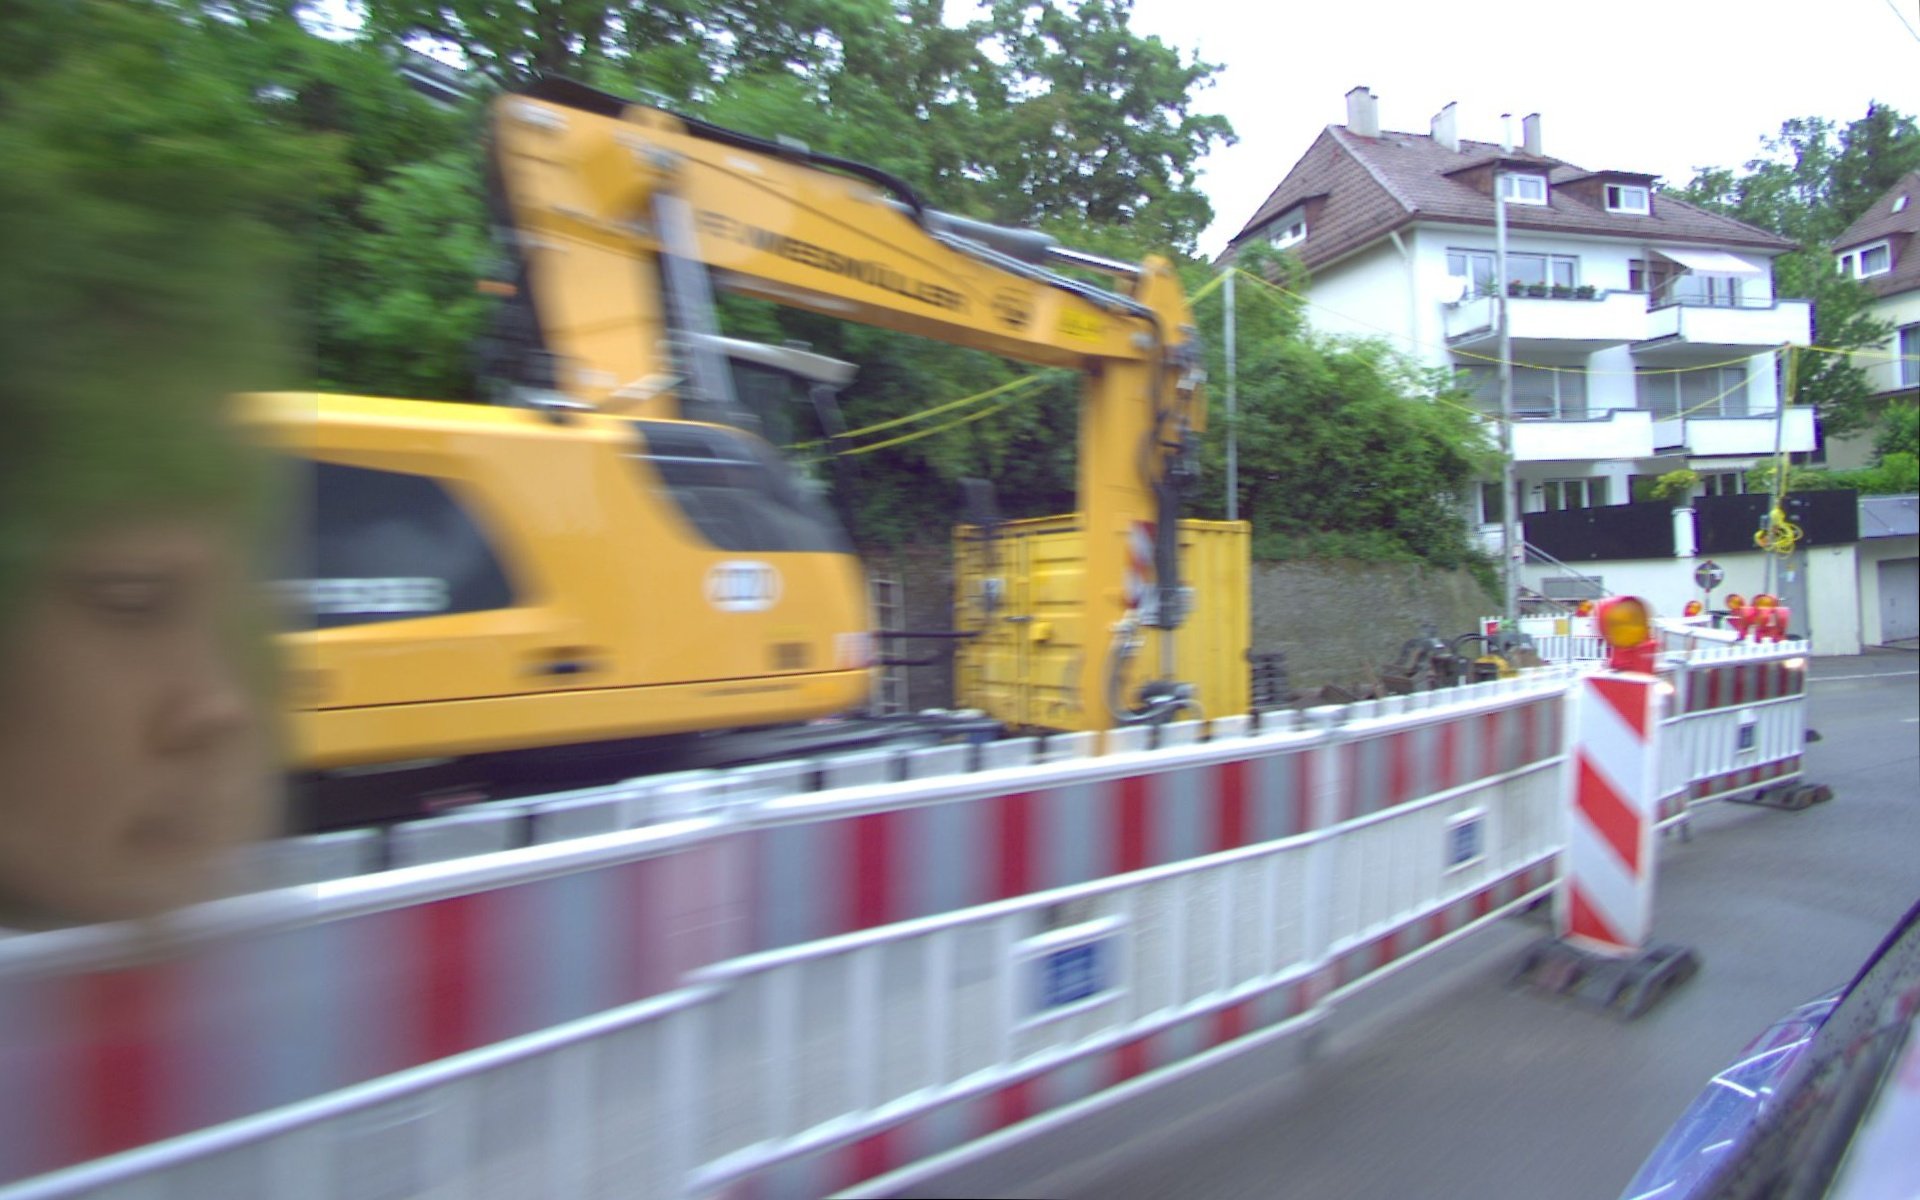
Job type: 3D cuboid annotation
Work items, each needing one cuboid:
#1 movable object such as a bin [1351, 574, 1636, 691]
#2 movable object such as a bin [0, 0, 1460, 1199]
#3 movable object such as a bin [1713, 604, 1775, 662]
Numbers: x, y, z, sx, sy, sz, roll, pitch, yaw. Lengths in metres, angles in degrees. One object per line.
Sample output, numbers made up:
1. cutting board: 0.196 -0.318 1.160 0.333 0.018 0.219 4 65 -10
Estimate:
1. movable object such as a bin: 8.012 0.413 15.156 3.920 1.539 2.002 -1 0 -30
2. movable object such as a bin: -0.706 -0.386 5.284 7.188 4.065 2.828 -1 0 -35
3. movable object such as a bin: 14.960 0.616 19.315 0.580 1.045 0.723 -1 1 -14
